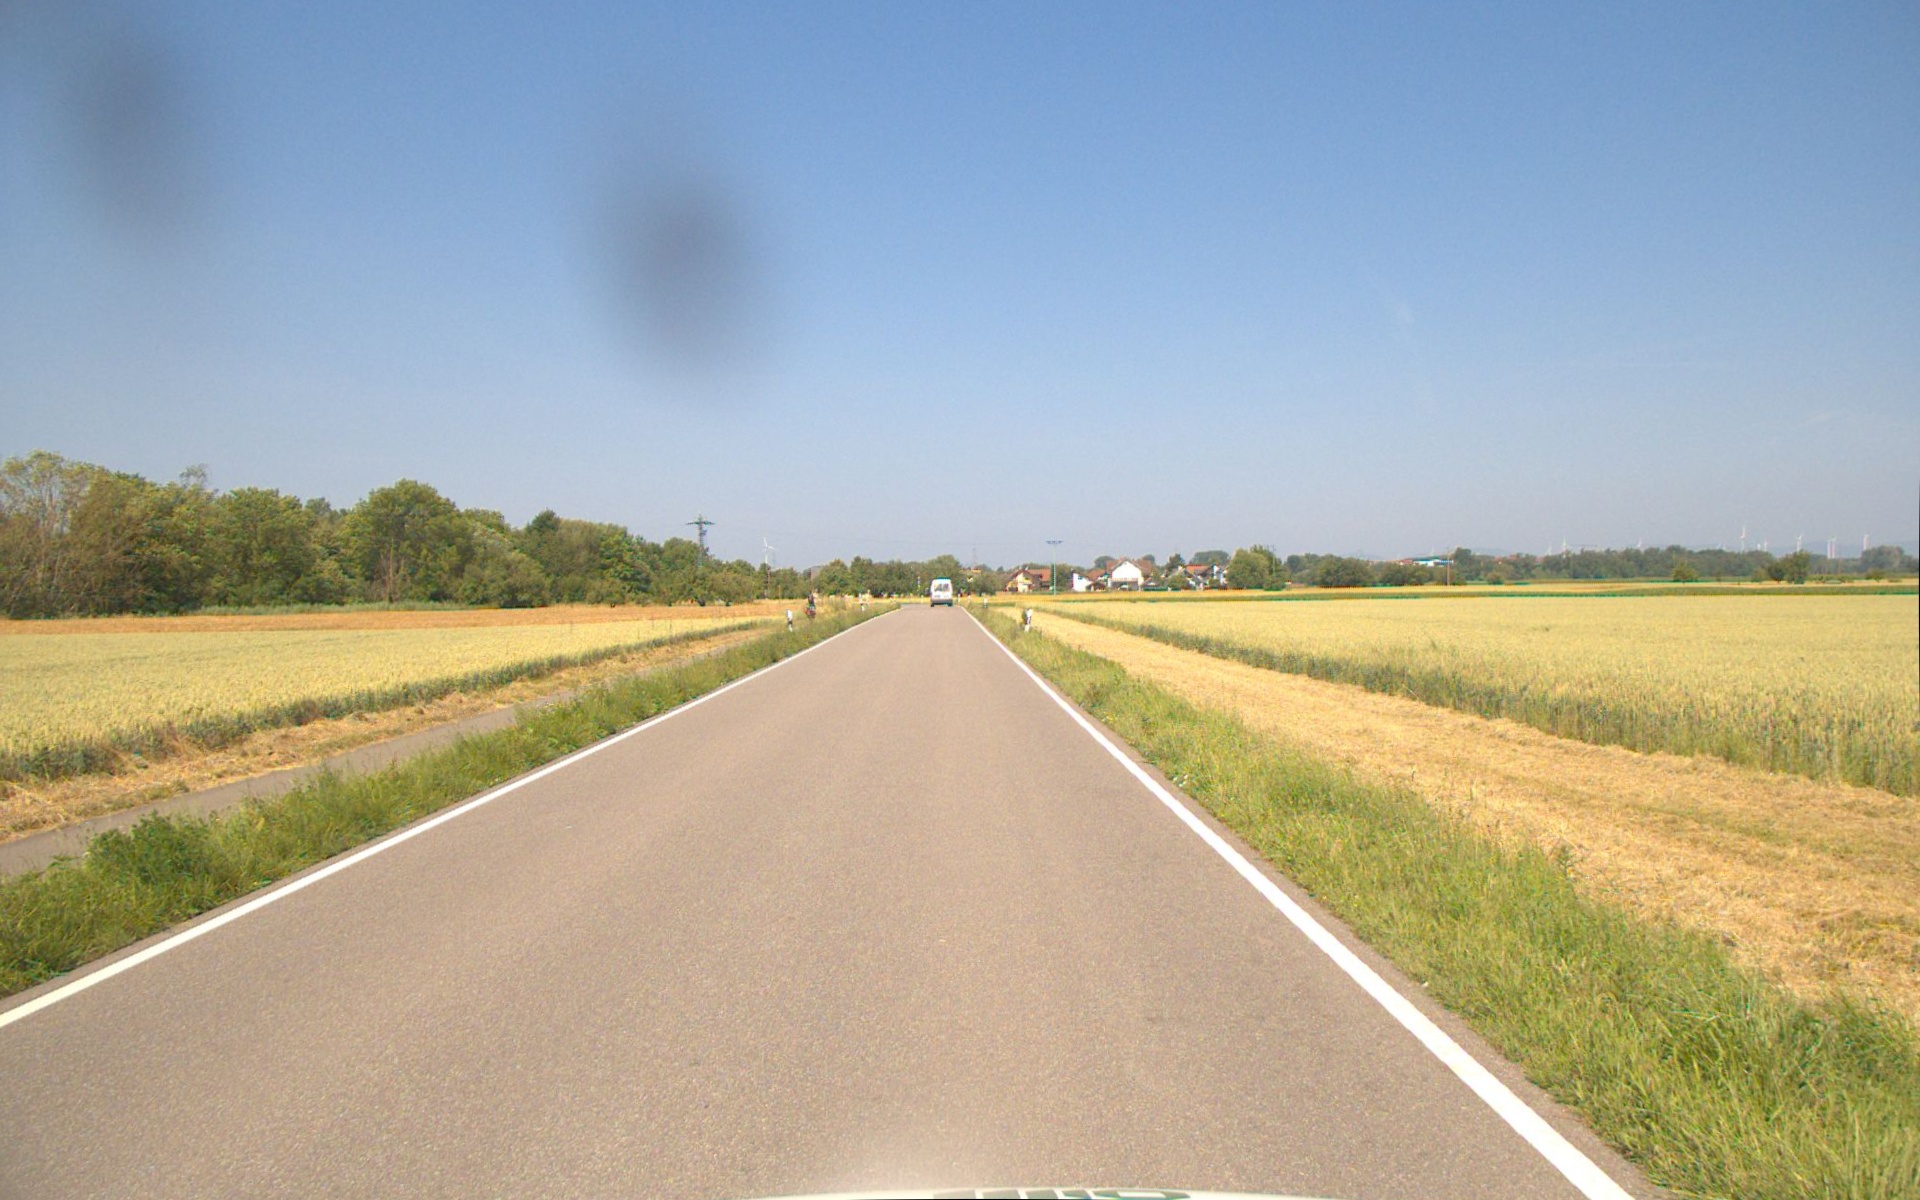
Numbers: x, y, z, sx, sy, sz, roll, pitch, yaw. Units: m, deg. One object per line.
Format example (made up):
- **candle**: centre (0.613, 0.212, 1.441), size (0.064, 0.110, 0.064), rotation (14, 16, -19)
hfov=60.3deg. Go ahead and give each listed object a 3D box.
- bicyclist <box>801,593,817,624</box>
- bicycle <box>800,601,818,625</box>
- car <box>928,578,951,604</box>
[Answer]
- **bicyclist**: centre (-8.402, 0.476, 91.997), size (0.744, 1.702, 1.088), rotation (-2, 0, -1)
- **bicycle**: centre (-8.407, 0.726, 92.010), size (0.744, 1.257, 2.393), rotation (-3, 0, -1)
- **car**: centre (-1.973, -0.846, 156.318), size (2.064, 2.344, 5.494), rotation (1, 0, -1)
